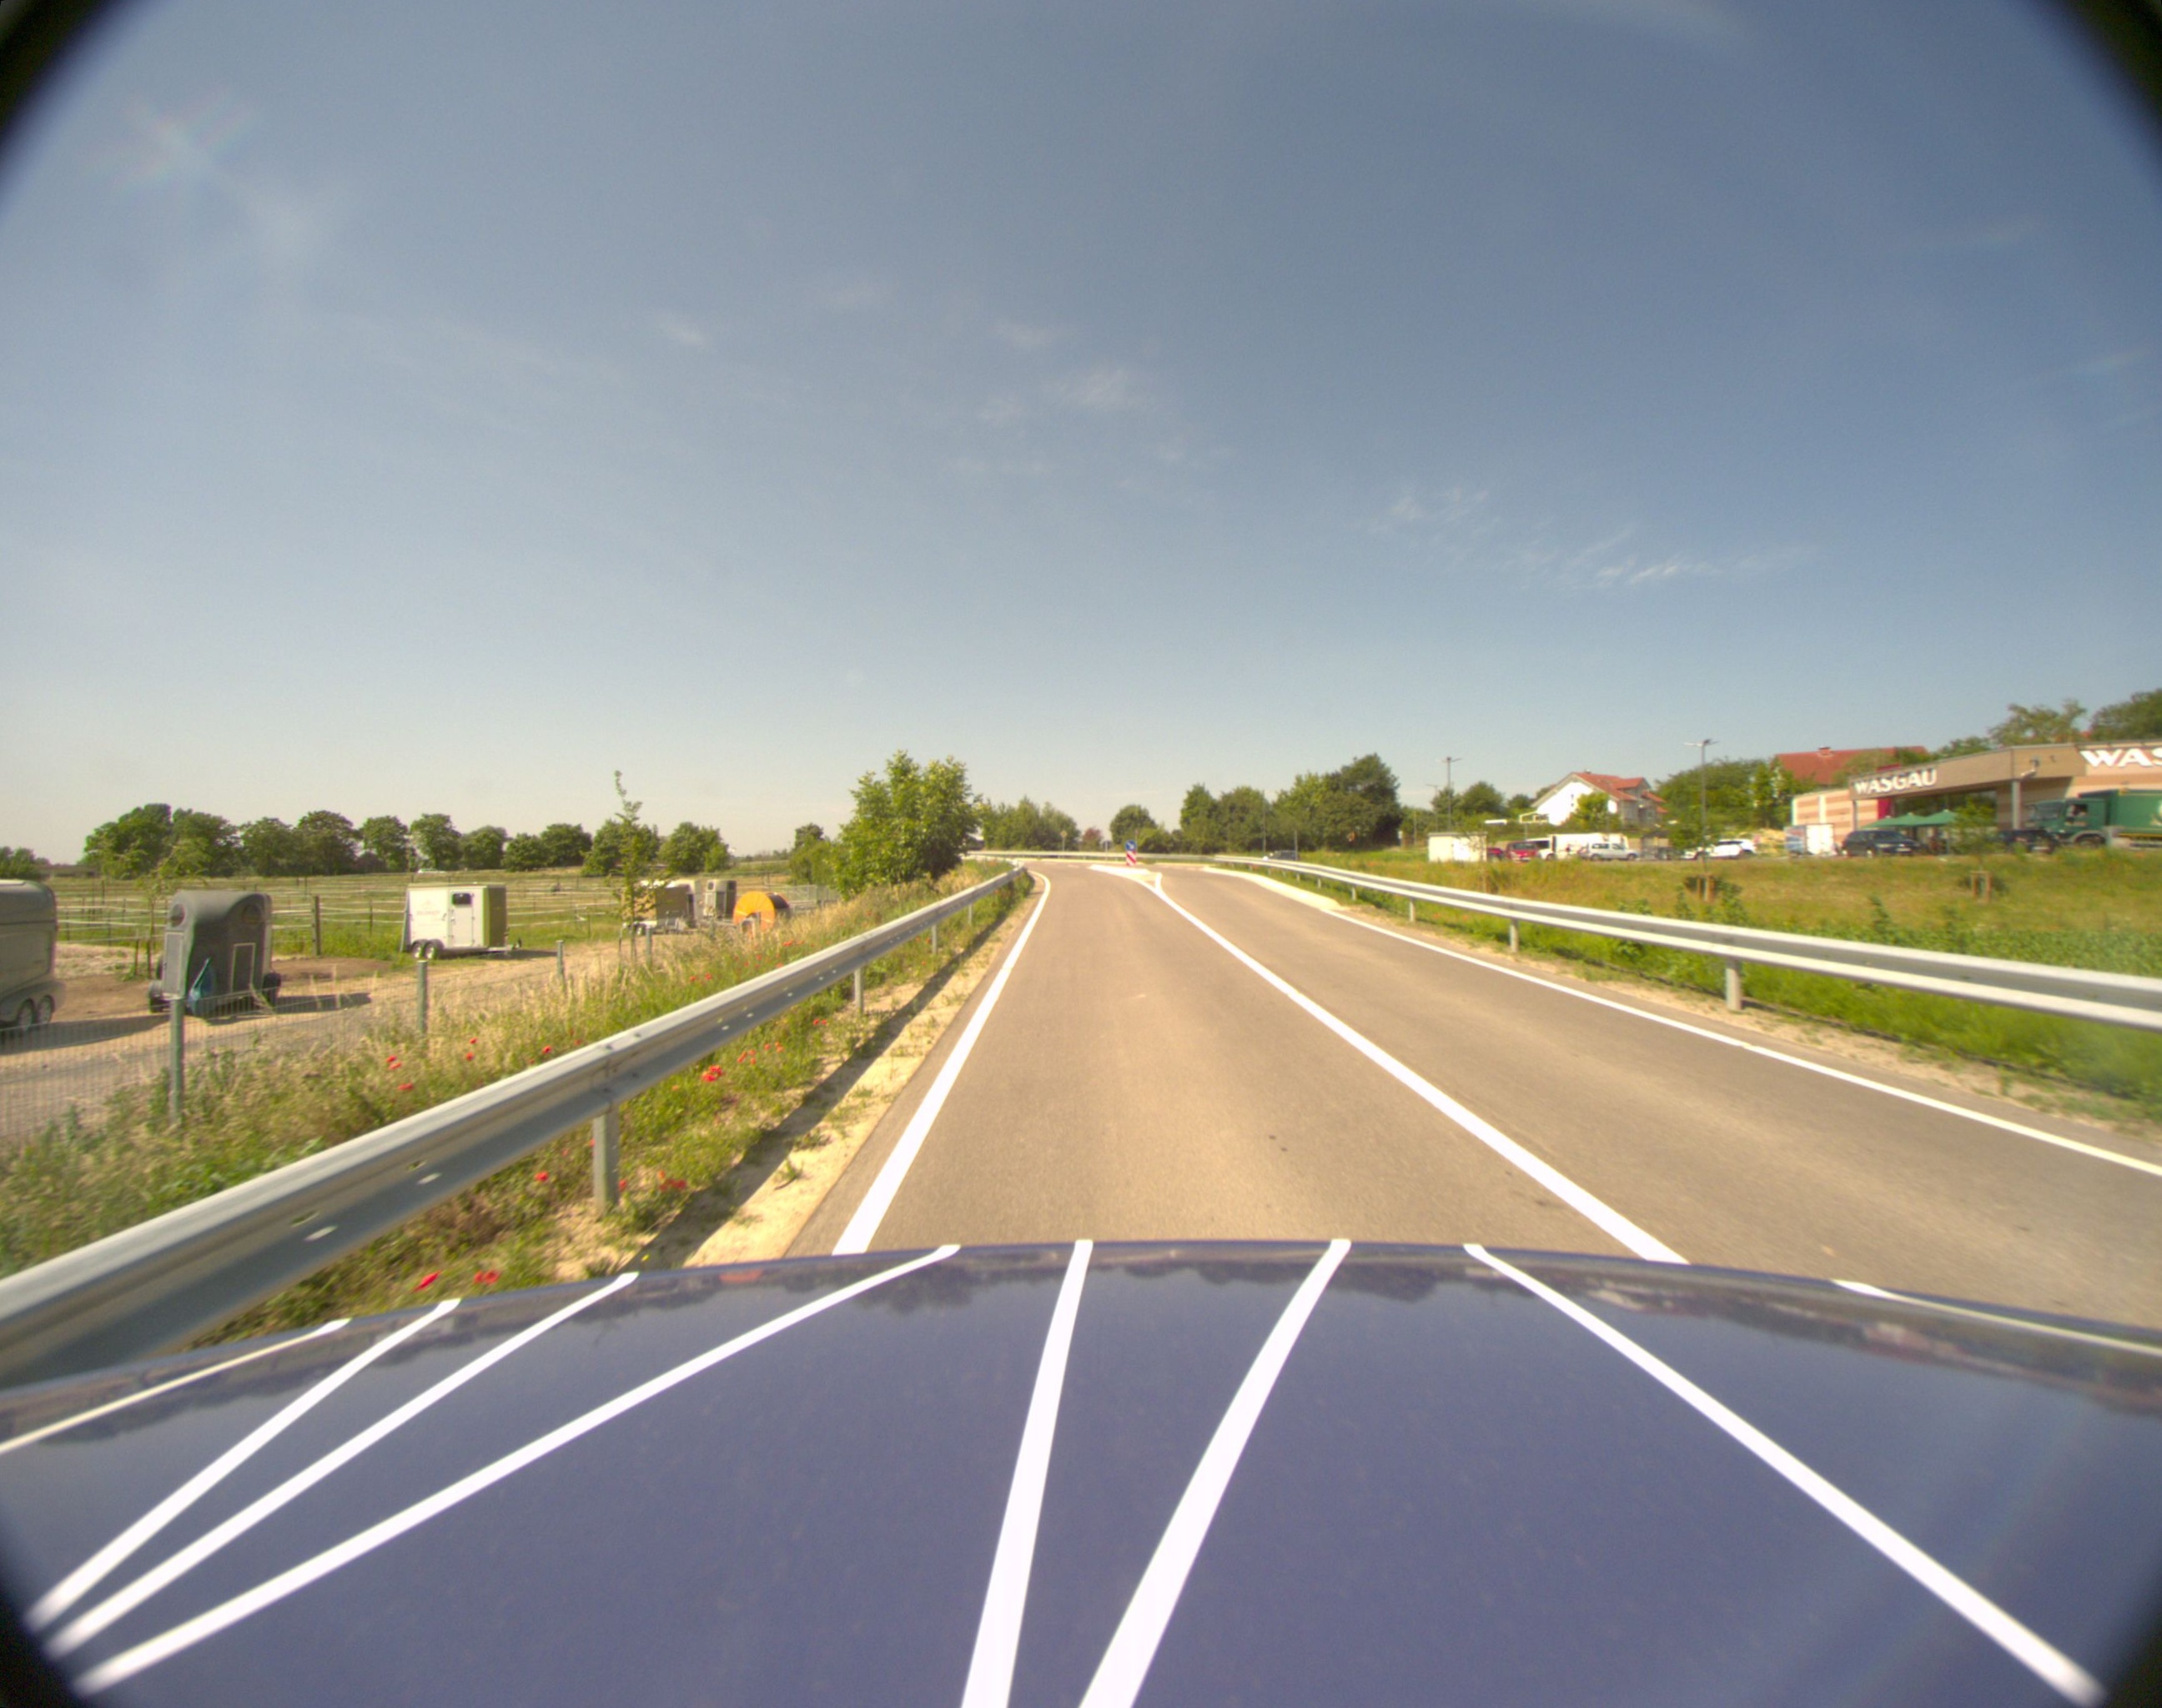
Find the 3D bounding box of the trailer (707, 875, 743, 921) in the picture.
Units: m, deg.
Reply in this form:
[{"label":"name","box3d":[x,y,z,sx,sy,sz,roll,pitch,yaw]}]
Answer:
[{"label":"trailer","box3d":[-22.788,2.793,48.671,2.003,2.787,3.372,0,-2,-25]}]

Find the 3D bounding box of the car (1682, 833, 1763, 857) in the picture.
[{"label":"car","box3d":[48.755,-0.669,57.869,4.323,1.694,2.002,-1,2,22]}]

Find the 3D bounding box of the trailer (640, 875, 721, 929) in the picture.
[{"label":"trailer","box3d":[-22.364,2.637,42.458,3.413,2.789,2.168,-1,1,19]}]

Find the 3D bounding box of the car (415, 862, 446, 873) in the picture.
[{"label":"car","box3d":[-128.631,2.637,150.282,1.994,2.002,4.300,0,2,37]}]

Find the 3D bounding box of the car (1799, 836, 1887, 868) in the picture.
[{"label":"car","box3d":[44.204,-0.133,44.194,1.996,1.750,4.004,-1,1,18]}]

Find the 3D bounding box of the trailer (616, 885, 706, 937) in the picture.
[{"label":"trailer","box3d":[-21.102,2.853,38.172,4.083,2.376,2.010,-3,0,29]}]

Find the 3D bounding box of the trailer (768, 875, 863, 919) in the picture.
[{"label":"trailer","box3d":[-17.022,2.724,49.153,2.576,2.366,6.058,-1,1,18]}]

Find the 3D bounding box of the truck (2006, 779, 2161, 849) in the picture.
[{"label":"truck","box3d":[56.170,-2.119,39.491,9.916,3.458,2.883,-1,2,27]}]

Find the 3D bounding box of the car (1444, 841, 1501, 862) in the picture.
[{"label":"car","box3d":[34.238,-0.229,66.604,4.322,1.694,2.003,-1,2,25]}]

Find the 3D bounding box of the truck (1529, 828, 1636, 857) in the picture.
[{"label":"truck","box3d":[60.021,-1.419,91.133,10.706,3.173,2.448,-1,2,8]}]

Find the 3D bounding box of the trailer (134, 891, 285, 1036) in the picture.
[{"label":"trailer","box3d":[-18.662,2.162,16.417,4.540,2.612,1.830,-1,-3,43]}]

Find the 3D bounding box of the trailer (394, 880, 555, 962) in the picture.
[{"label":"trailer","box3d":[-21.753,2.302,27.255,5.176,2.672,2.212,-1,0,22]}]

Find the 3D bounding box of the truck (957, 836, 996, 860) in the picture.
[{"label":"truck","box3d":[-16.556,-1.031,121.334,2.819,3.519,8.201,-1,2,18]}]

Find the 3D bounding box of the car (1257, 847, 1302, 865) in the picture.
[{"label":"car","box3d":[20.304,0.163,77.664,4.187,1.694,2.002,-1,2,20]}]

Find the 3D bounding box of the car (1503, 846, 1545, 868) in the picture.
[{"label":"car","box3d":[27.477,0.160,47.200,1.621,1.282,3.678,-1,1,20]}]

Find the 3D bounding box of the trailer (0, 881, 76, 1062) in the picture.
[{"label":"trailer","box3d":[-19.701,1.955,12.985,2.239,2.847,5.030,0,0,-43]}]

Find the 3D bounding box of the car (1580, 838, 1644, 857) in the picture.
[{"label":"car","box3d":[47.054,-0.588,67.440,4.323,1.589,2.002,-1,2,21]}]
